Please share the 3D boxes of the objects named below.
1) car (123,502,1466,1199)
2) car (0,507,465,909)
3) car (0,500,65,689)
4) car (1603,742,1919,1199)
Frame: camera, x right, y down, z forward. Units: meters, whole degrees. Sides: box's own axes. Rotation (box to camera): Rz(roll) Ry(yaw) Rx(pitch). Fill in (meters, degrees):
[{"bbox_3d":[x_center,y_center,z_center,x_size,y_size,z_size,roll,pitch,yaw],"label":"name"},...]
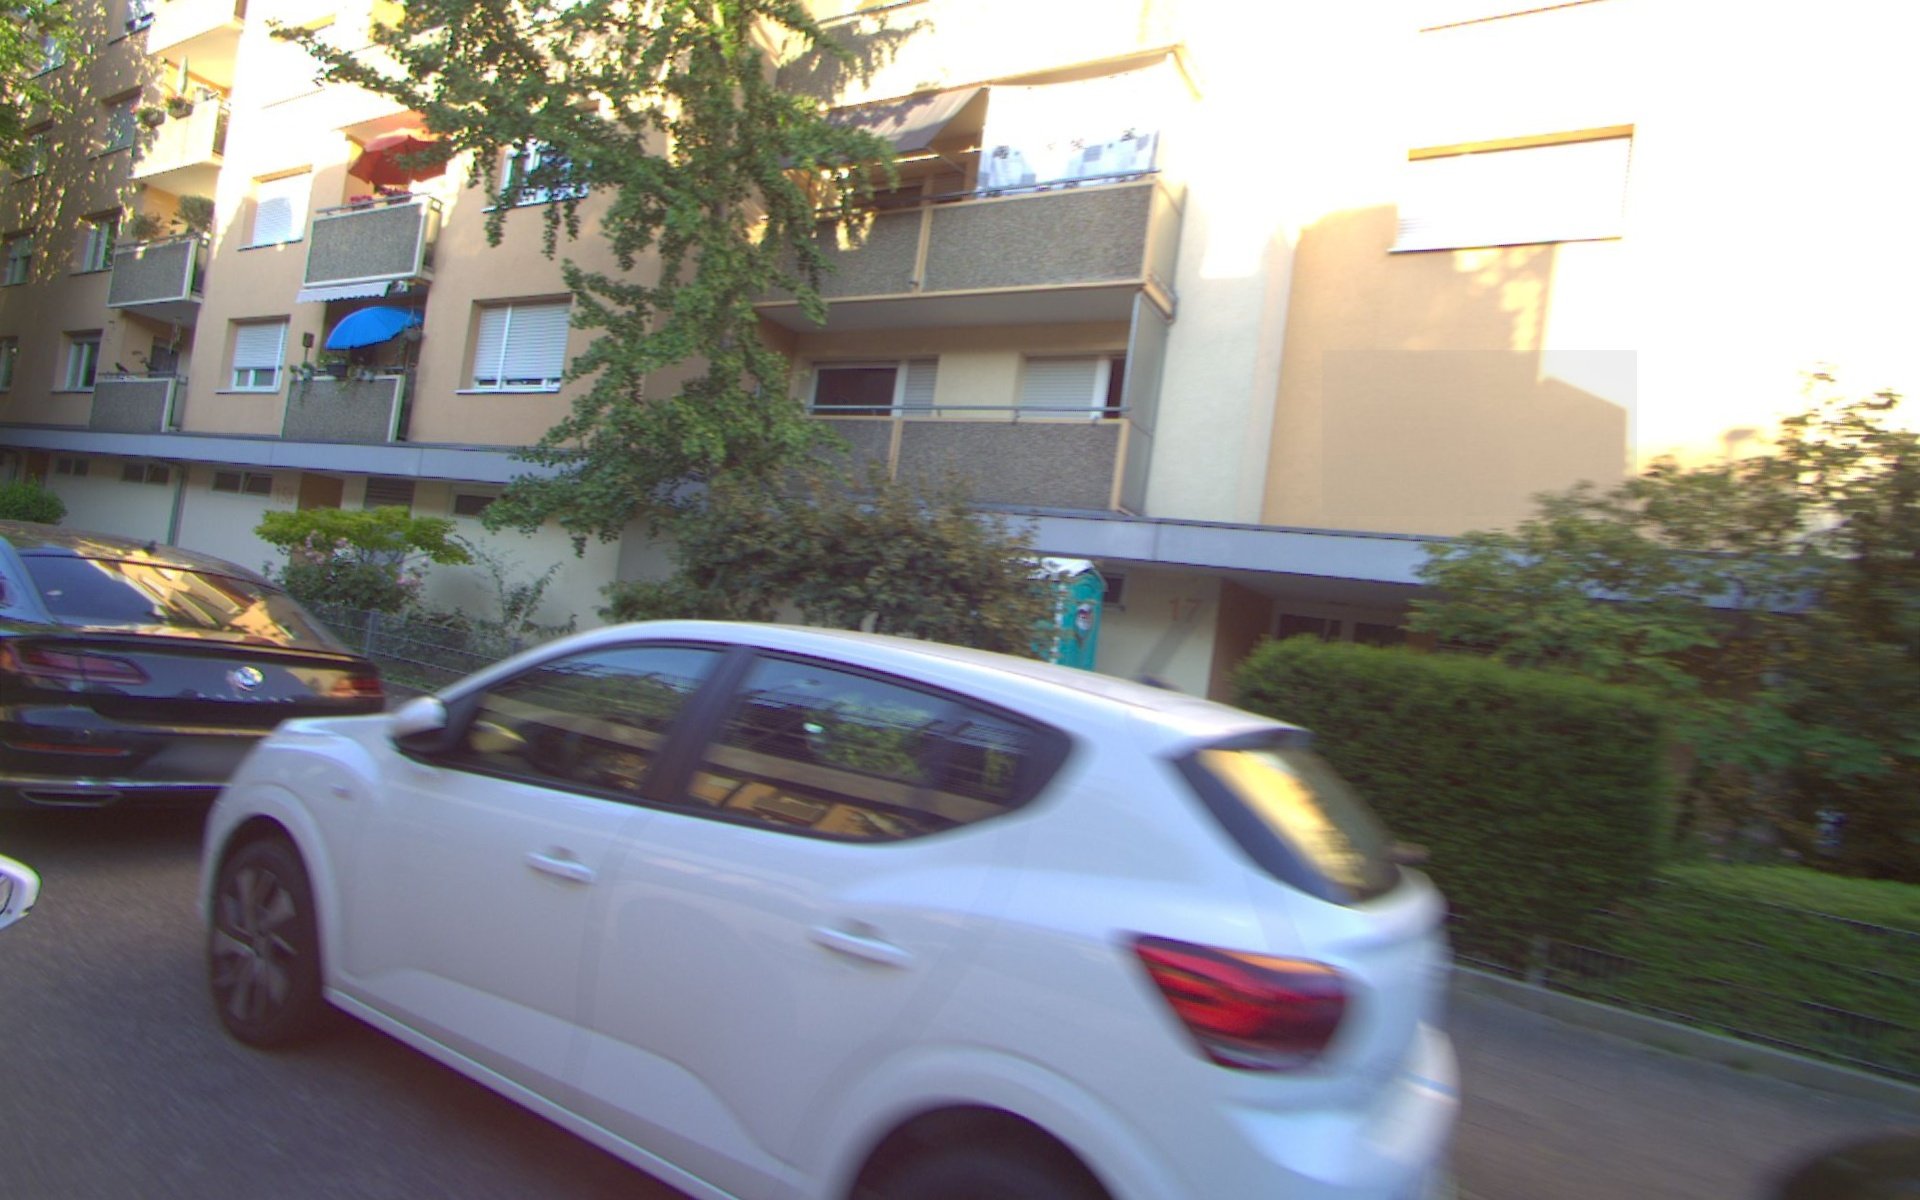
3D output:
[{"bbox_3d":[-0.669,0.691,3.206,3.830,1.433,1.814,8,-1,31],"label":"car"},{"bbox_3d":[-5.090,0.285,5.678,4.547,1.433,1.814,8,-1,31],"label":"car"},{"bbox_3d":[-9.600,-0.309,8.642,3.986,1.478,1.613,8,-1,31],"label":"car"},{"bbox_3d":[3.011,1.223,0.873,3.959,1.435,1.721,8,-1,31],"label":"car"}]
